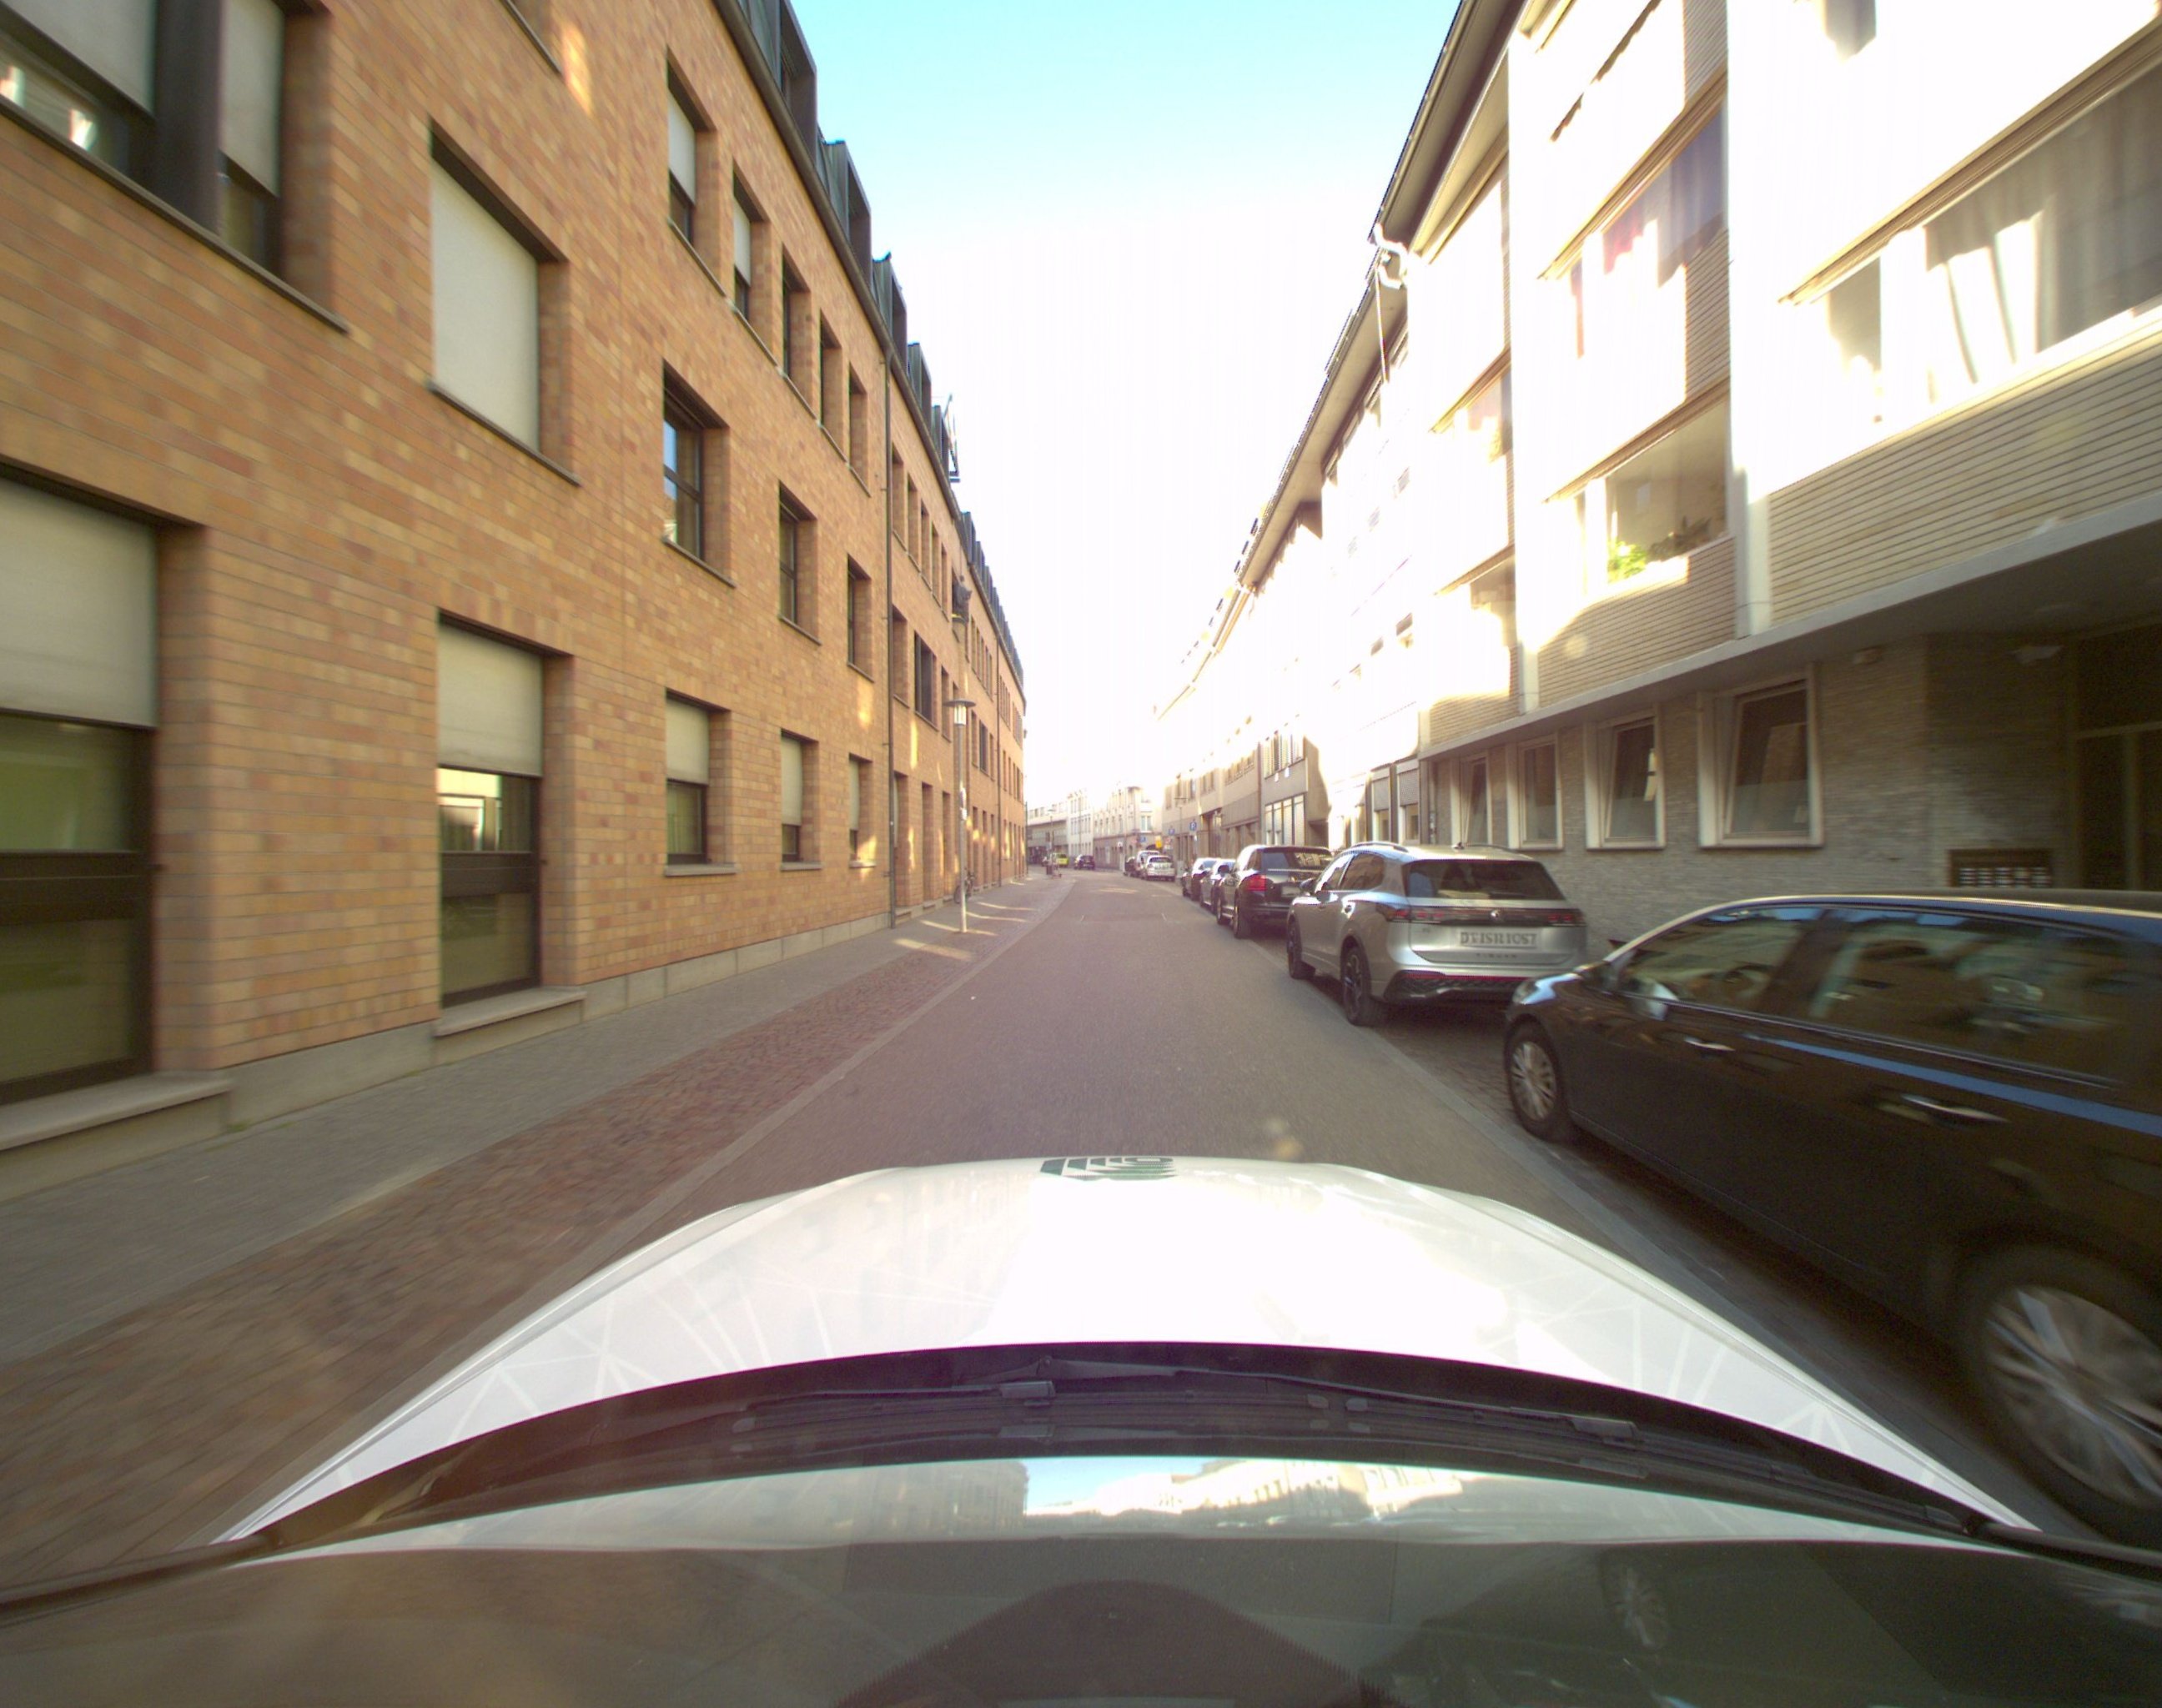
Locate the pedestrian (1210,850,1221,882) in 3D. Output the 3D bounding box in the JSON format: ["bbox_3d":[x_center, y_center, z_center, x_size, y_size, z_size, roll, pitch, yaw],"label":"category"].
[{"bbox_3d":[6.877,0.613,41.705,0.477,1.654,0.541,-1,0,14],"label":"pedestrian"}]

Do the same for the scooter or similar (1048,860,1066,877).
[{"bbox_3d":[-1.743,1.032,59.655,0.691,1.217,1.365,-1,0,25],"label":"scooter or similar"}]

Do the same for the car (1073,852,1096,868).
[{"bbox_3d":[0.385,0.691,91.465,1.968,1.692,4.088,1,0,-10],"label":"car"}]

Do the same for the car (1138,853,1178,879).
[{"bbox_3d":[4.619,0.706,49.383,1.836,1.478,4.164,2,0,-2],"label":"car"}]

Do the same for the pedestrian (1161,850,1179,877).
[{"bbox_3d":[6.045,0.652,55.533,1.039,1.801,1.198,0,-1,-2],"label":"pedestrian"}]

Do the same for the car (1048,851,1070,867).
[{"bbox_3d":[-2.989,0.621,107.699,2.056,2.013,4.154,0,0,-14],"label":"car"}]

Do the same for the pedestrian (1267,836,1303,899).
[{"bbox_3d":[5.808,0.378,23.206,0.785,1.721,0.747,-3,0,2],"label":"pedestrian"}]

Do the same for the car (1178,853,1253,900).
[{"bbox_3d":[4.524,0.696,28.062,1.887,1.453,5.228,1,0,2],"label":"car"}]

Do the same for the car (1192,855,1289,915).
[{"bbox_3d":[4.218,0.755,22.238,1.800,1.412,4.792,1,0,2],"label":"car"}]

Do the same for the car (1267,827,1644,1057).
[{"bbox_3d":[3.415,0.664,8.664,1.985,1.702,4.847,2,0,3],"label":"car"}]

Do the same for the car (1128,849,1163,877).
[{"bbox_3d":[4.378,0.600,55.681,1.826,1.791,5.209,0,0,-2],"label":"car"}]

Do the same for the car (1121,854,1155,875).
[{"bbox_3d":[4.248,0.794,61.622,1.886,1.518,4.053,0,0,-7],"label":"car"}]

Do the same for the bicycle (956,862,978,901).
[{"bbox_3d":[-3.700,0.883,26.529,0.630,1.162,1.800,2,0,-6],"label":"bicycle"}]

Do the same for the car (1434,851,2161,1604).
[{"bbox_3d":[3.208,0.779,3.246,1.815,1.504,4.604,2,0,4],"label":"car"}]

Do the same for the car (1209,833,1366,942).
[{"bbox_3d":[3.832,0.551,16.062,2.094,1.786,5.056,1,0,3],"label":"car"}]
